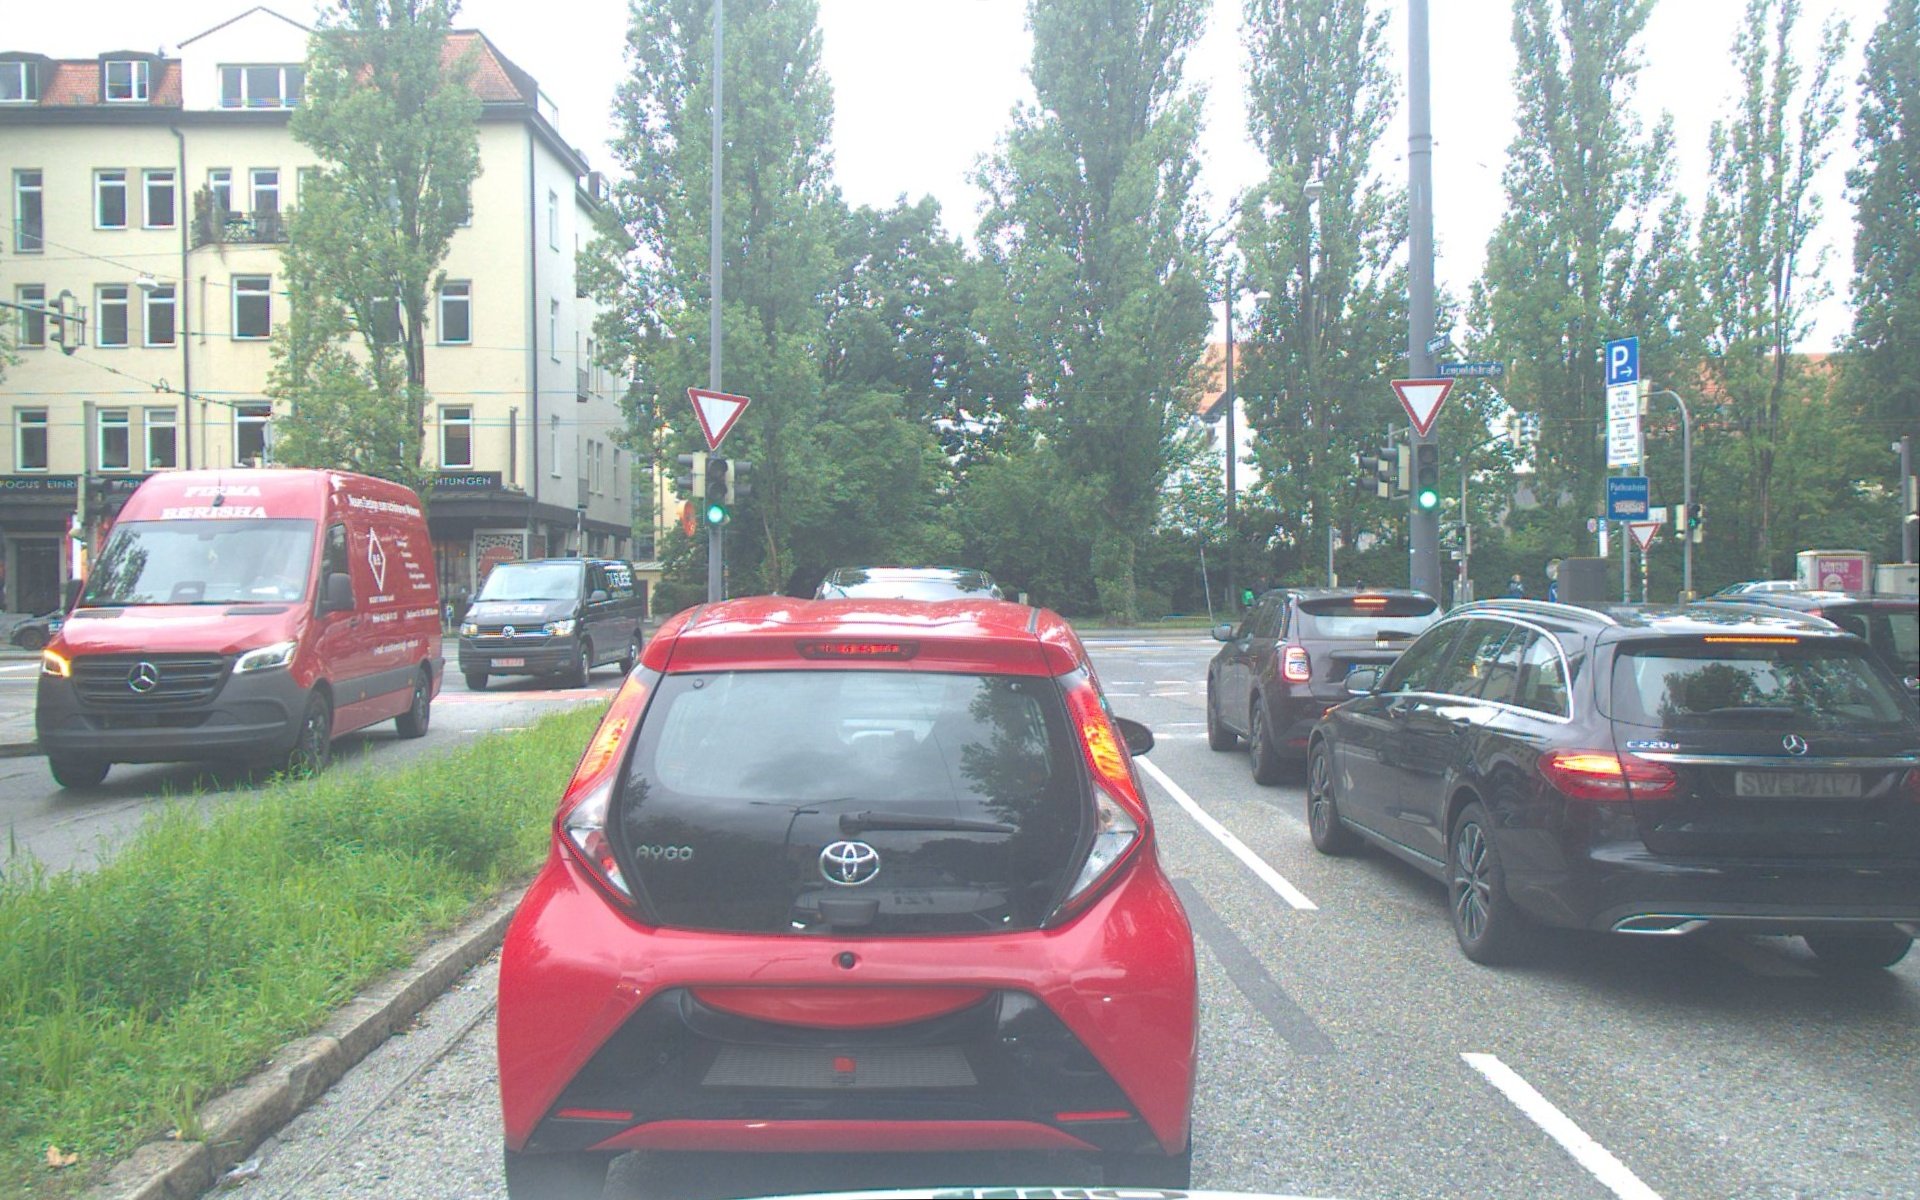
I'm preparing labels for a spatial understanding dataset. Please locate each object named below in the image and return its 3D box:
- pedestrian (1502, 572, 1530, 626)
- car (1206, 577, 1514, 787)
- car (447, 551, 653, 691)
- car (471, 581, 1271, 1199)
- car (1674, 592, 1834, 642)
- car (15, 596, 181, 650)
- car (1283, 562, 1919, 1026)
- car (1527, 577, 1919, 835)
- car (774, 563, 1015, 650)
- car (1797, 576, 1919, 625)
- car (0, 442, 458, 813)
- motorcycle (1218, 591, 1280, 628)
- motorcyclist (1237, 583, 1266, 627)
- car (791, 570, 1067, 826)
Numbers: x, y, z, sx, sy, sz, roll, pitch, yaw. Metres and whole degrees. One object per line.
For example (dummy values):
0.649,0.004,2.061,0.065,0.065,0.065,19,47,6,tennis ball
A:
17.700,-0.033,52.625,0.689,1.691,0.549,0,-1,39,pedestrian
3.220,0.598,14.106,1.744,1.512,4.001,-1,0,2,car
-6.435,0.286,26.550,1.818,2.025,4.707,-1,0,4,car
-0.164,0.688,5.015,1.595,1.465,3.377,-1,1,0,car
25.330,0.531,52.852,4.251,1.512,1.786,-1,0,-3,car
-25.344,0.655,48.709,3.909,1.491,1.803,-1,0,-5,car
2.972,0.655,8.047,1.825,1.576,4.703,1,0,-1,car
5.965,0.632,12.497,1.793,1.576,4.554,-1,1,0,car
-1.441,0.097,35.788,4.842,1.666,2.102,-2,2,-15,car
29.678,0.001,53.631,4.160,1.512,1.786,-1,0,-3,car
-6.254,0.114,15.022,2.063,2.634,6.074,-1,2,-6,car
9.671,0.325,55.307,1.980,1.190,0.631,1,-1,4,motorcycle
9.744,0.169,55.297,0.860,1.468,0.621,1,-1,5,motorcyclist
-0.176,0.588,12.587,1.700,1.576,4.577,-1,1,0,car
